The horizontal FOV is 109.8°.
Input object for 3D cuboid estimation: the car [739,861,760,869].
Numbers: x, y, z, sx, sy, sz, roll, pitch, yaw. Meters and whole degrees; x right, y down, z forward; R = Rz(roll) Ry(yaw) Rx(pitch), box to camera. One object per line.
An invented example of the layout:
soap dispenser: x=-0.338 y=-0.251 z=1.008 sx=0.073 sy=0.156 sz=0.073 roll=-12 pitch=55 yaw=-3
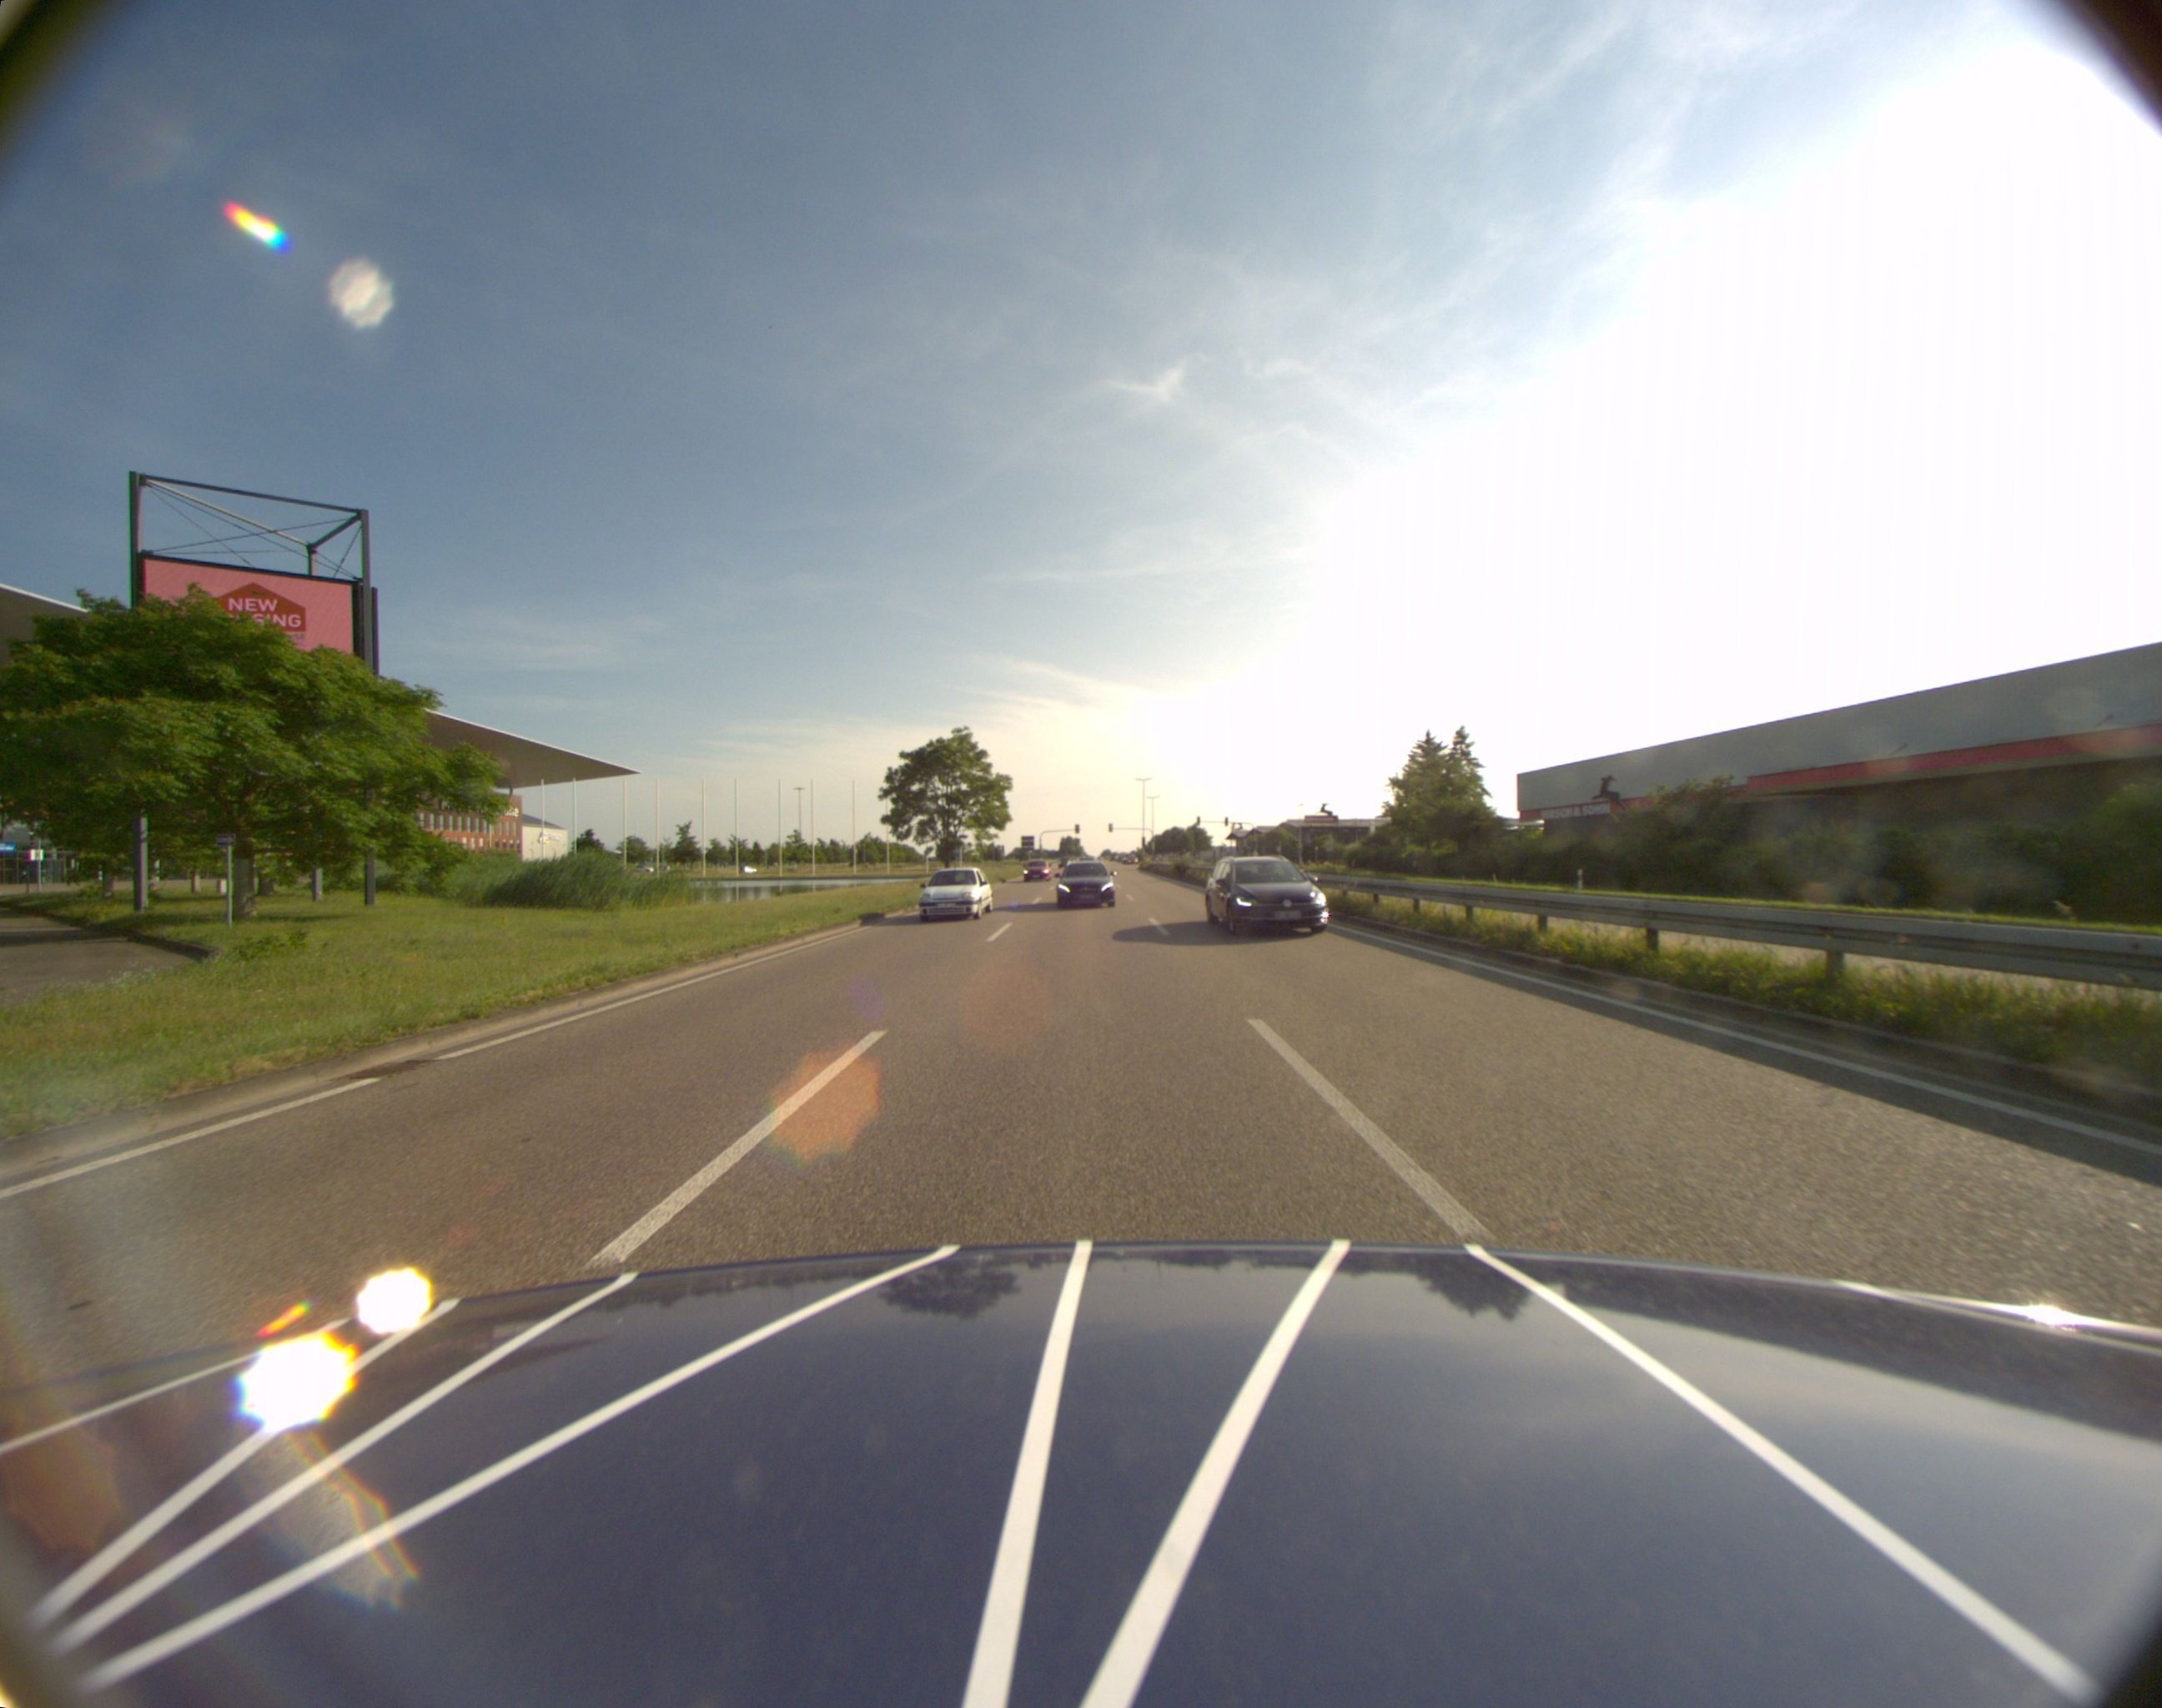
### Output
car: x=-62.199 y=2.090 z=142.644 sx=1.709 sy=1.447 sz=3.568 roll=-2 pitch=0 yaw=12

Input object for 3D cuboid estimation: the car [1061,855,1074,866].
car: x=-1.907 y=0.981 z=110.871 sx=1.751 sy=1.512 sz=3.739 roll=-2 pitch=0 yaw=1

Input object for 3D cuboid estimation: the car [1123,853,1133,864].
car: x=8.302 y=0.733 z=134.193 sx=1.650 sy=1.823 sz=4.226 roll=-2 pitch=0 yaw=1

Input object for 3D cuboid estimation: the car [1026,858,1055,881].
car: x=-2.833 y=1.051 z=53.936 sx=1.751 sy=1.512 sz=3.739 roll=-2 pitch=0 yaw=1

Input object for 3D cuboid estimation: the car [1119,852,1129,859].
car: x=9.579 y=0.373 z=169.753 sx=1.751 sy=1.512 sz=3.739 roll=-2 pitch=0 yaw=-1

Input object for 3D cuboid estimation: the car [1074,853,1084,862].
car: x=-0.297 y=0.625 z=142.726 sx=1.751 sy=1.512 sz=3.739 roll=-2 pitch=0 yaw=1

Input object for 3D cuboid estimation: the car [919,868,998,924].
car: x=-3.390 y=1.131 z=21.594 sx=1.578 sy=1.371 sz=3.452 roll=-2 pitch=0 yaw=1

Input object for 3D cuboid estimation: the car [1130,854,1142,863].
car: x=9.178 y=0.688 z=127.082 sx=1.711 sy=1.428 sz=3.565 roll=-2 pitch=0 yaw=1

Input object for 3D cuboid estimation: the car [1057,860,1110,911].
car: x=0.132 y=0.968 z=25.505 sx=1.576 sy=1.462 sz=5.022 roll=-1 pitch=0 yaw=1

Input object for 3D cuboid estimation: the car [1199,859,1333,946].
car: x=3.614 y=0.875 z=15.734 sx=1.650 sy=1.462 sz=4.776 roll=-2 pitch=0 yaw=1
